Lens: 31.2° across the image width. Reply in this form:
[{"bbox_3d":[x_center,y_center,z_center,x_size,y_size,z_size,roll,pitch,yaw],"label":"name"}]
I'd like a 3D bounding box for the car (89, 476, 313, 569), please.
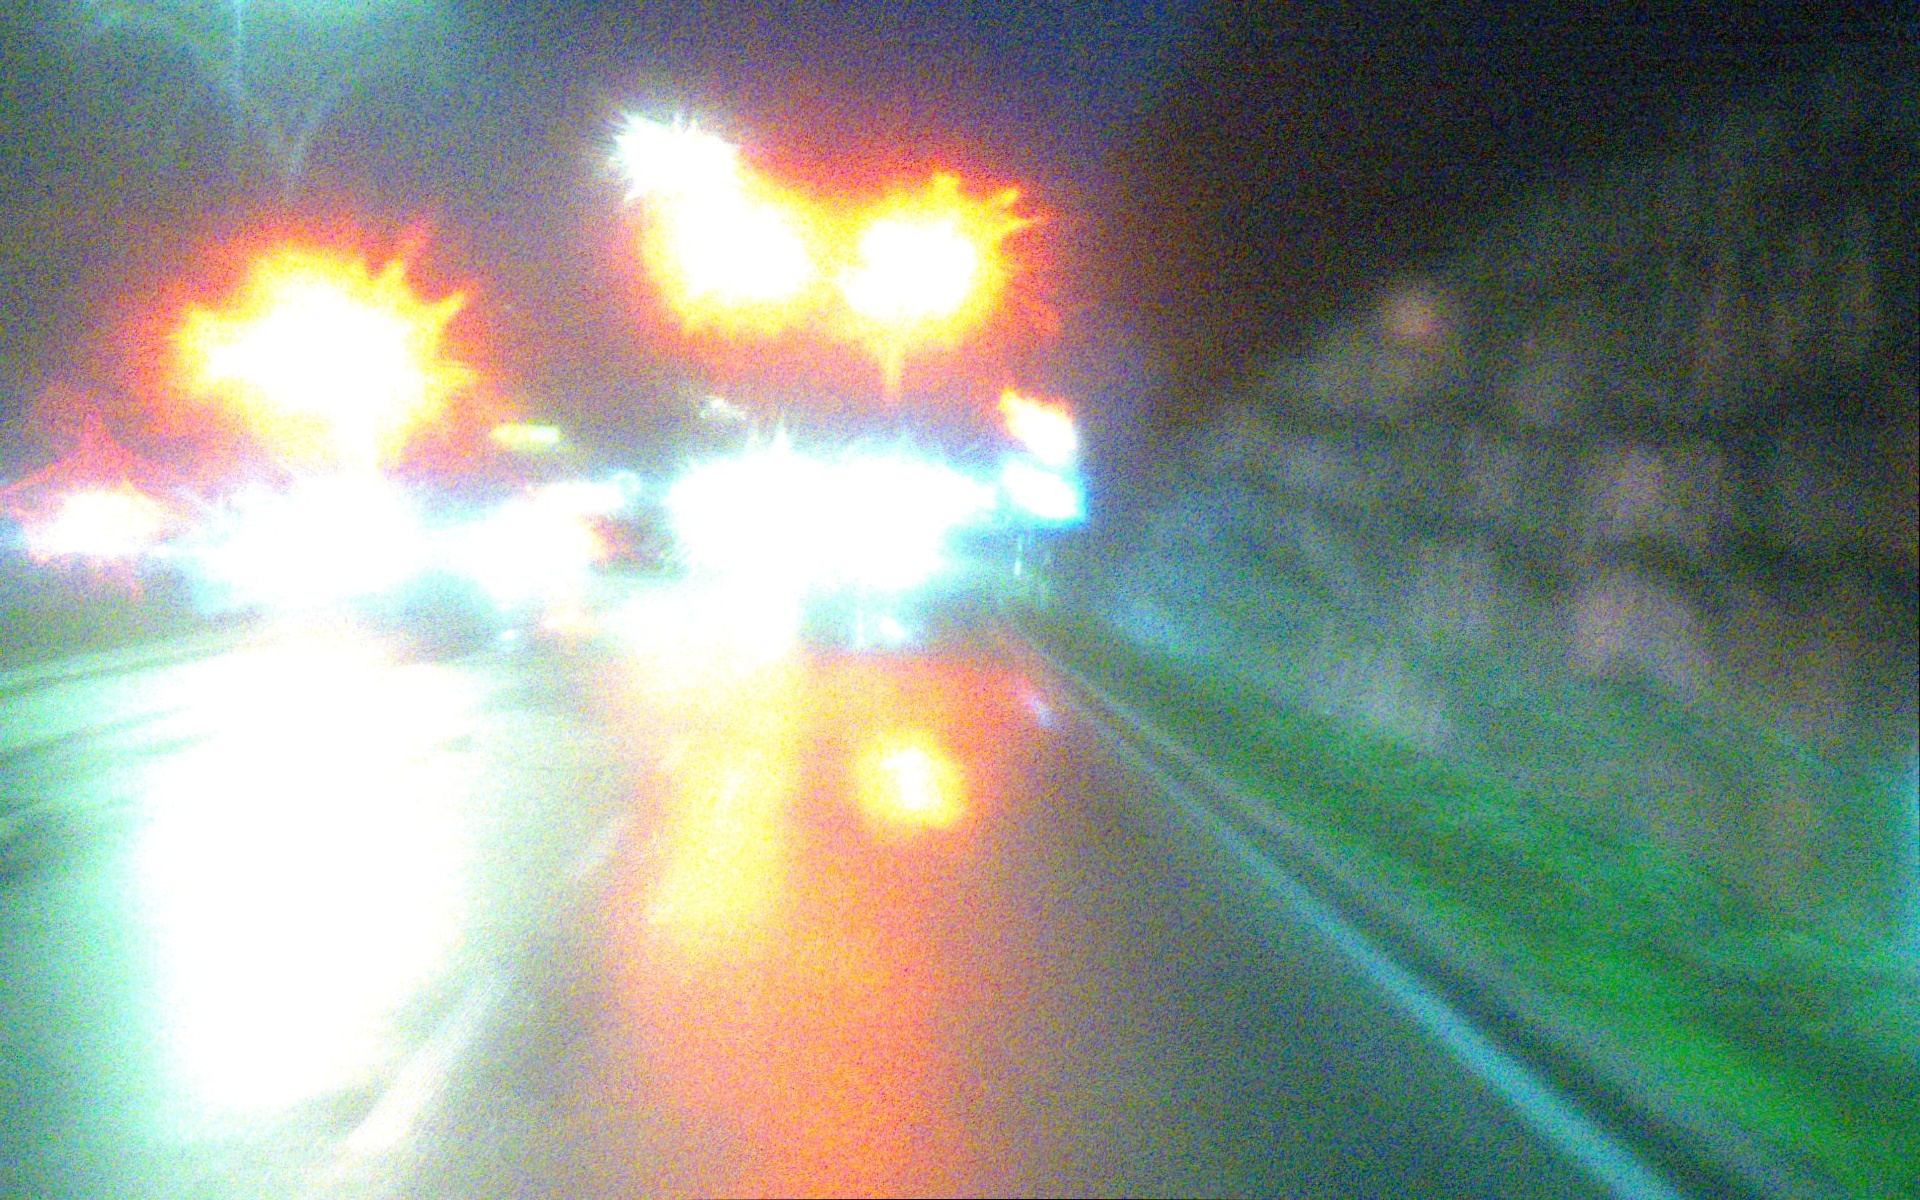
[{"bbox_3d":[-14.321,-1.470,65.087,3.986,1.656,2.001,1,1,-8],"label":"car"}]
